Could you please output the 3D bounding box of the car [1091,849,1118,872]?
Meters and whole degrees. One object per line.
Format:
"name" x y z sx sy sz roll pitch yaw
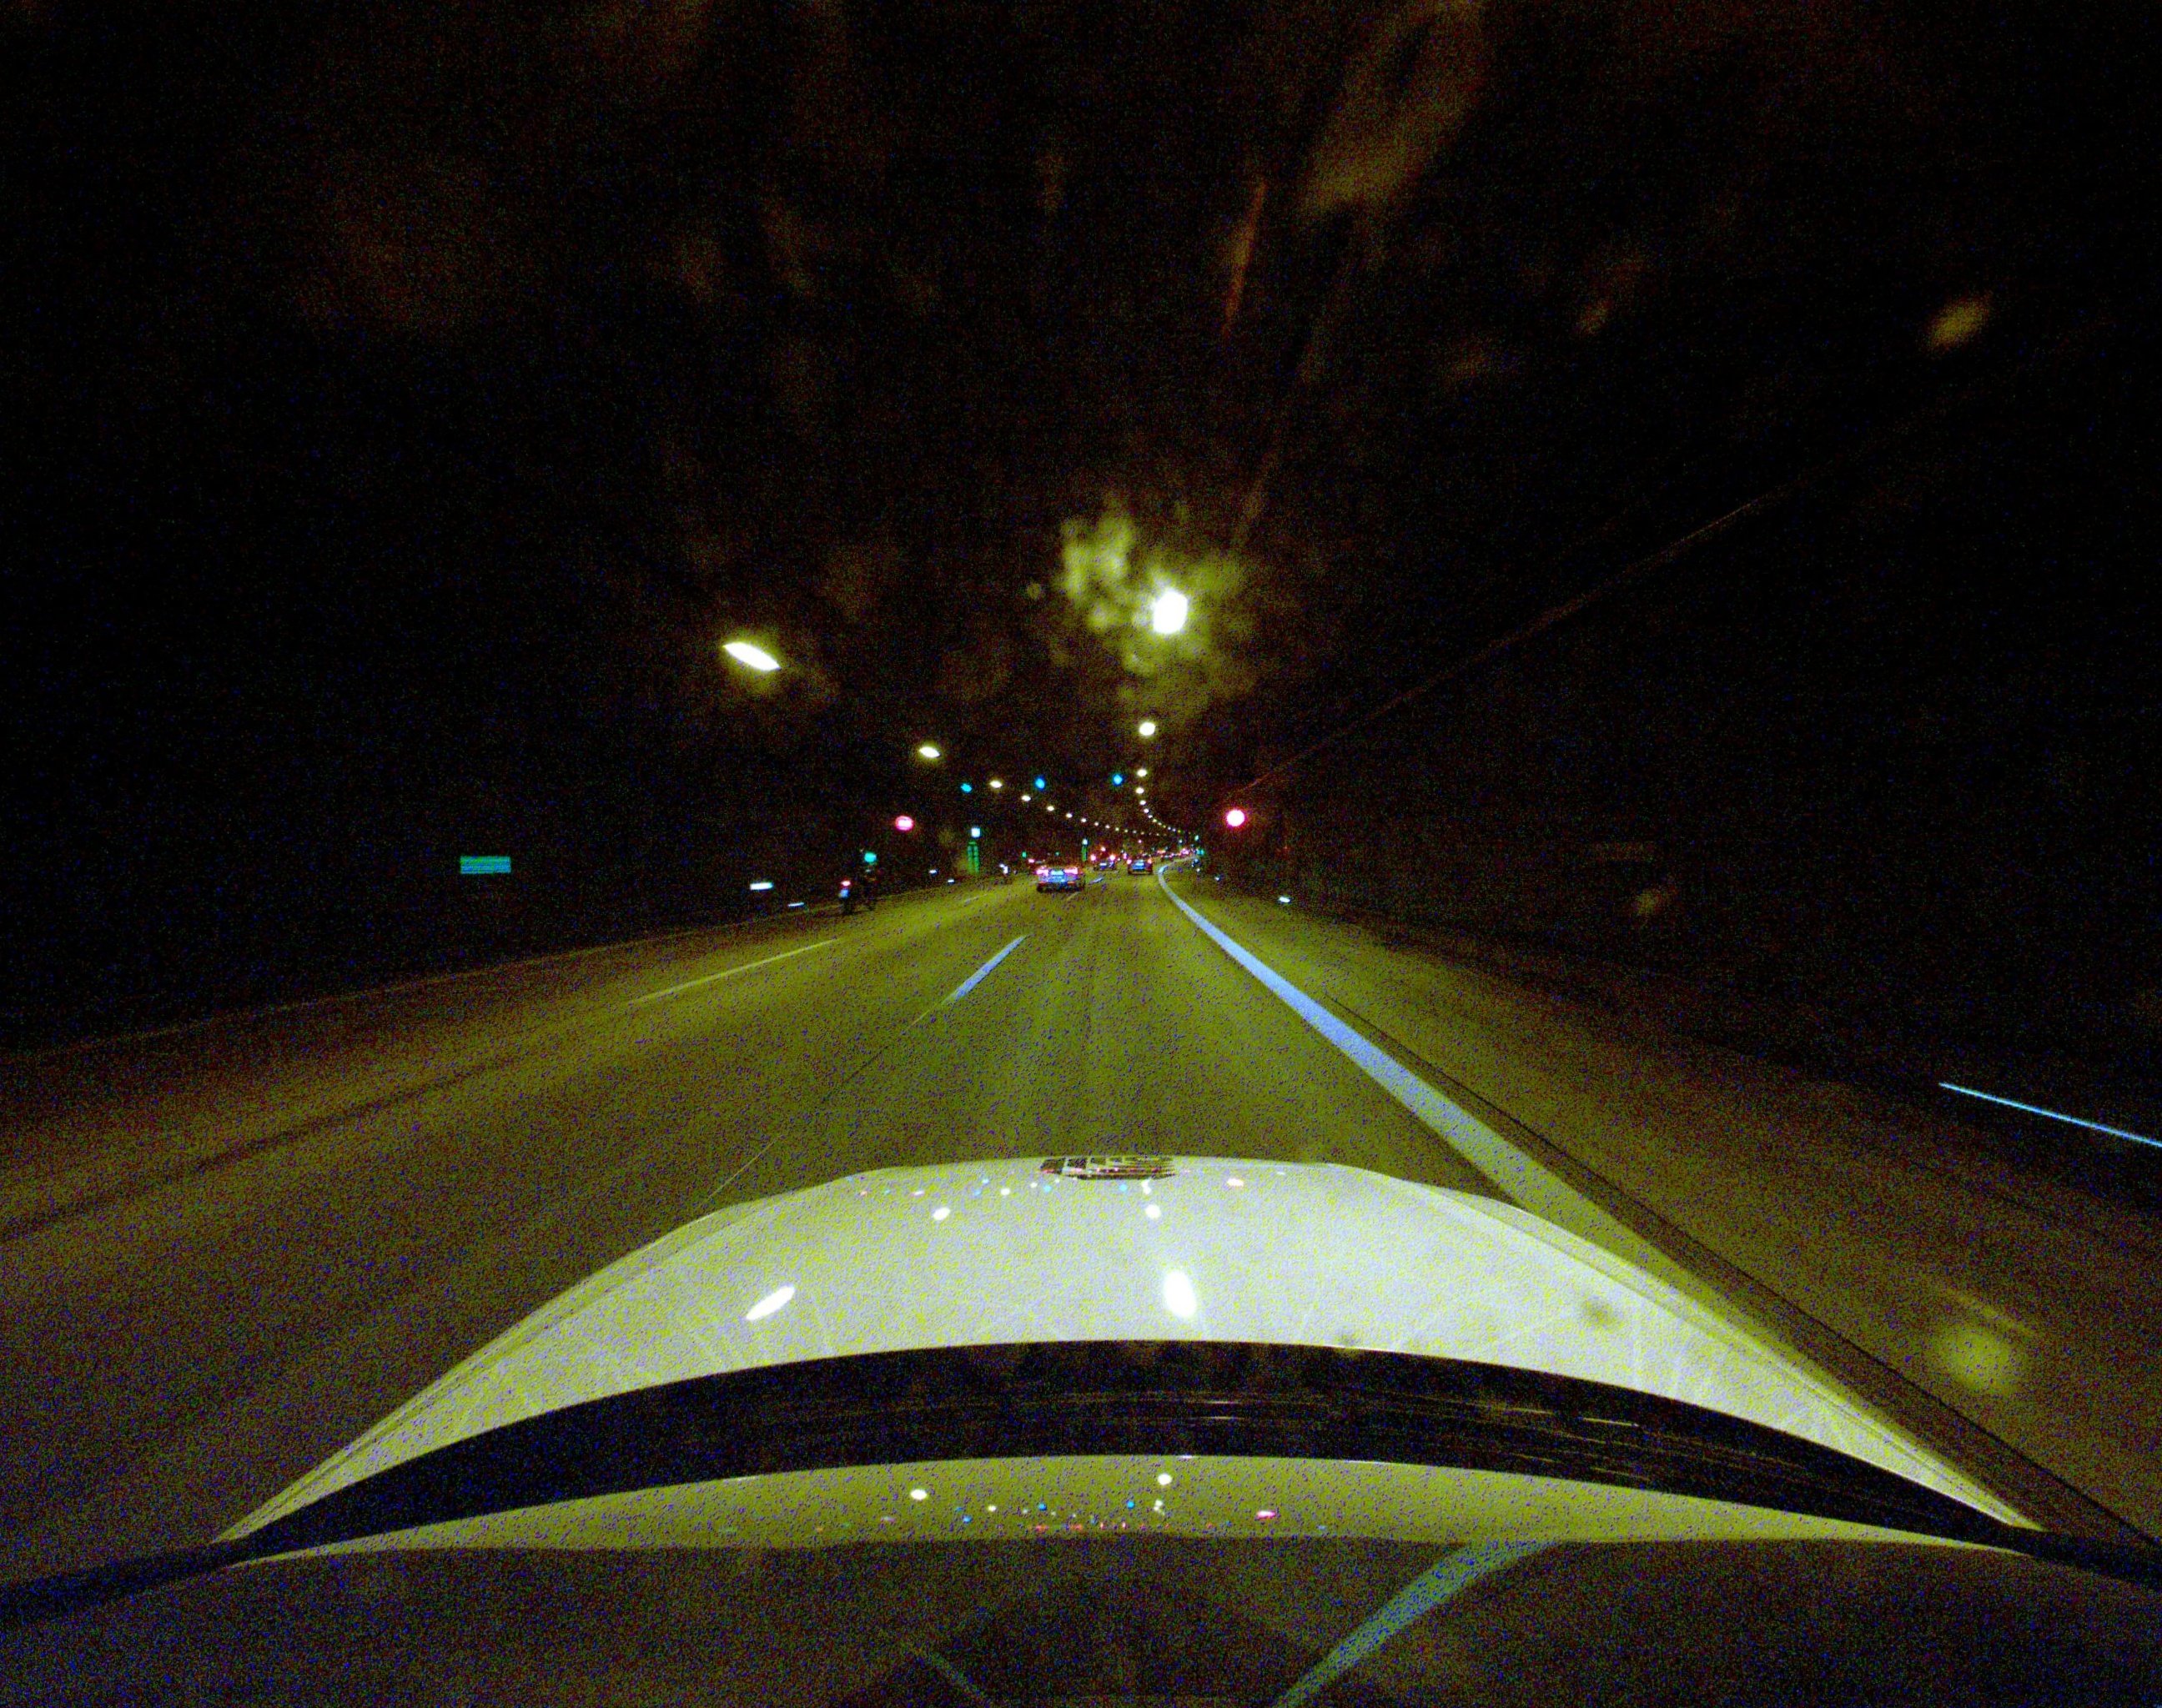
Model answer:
"car" 2.130 0.530 71.840 1.983 1.972 4.008 0 0 7

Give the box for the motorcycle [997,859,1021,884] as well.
"motorcycle" -3.729 0.900 42.210 0.842 1.246 2.607 -1 0 3

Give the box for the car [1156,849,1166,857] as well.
"car" 17.977 -0.243 182.067 1.819 1.618 4.011 -3 0 10

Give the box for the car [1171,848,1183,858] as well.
"car" 17.423 -0.170 147.557 1.848 1.666 4.010 -3 0 9

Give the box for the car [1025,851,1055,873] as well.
"car" -3.147 0.600 63.340 1.777 1.598 3.807 -1 0 5

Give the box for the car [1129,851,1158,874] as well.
"car" 4.456 0.590 57.869 1.830 1.602 4.008 -1 0 7

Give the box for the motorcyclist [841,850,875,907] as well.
"motorcyclist" -6.069 0.659 22.206 0.624 1.489 0.891 2 0 1

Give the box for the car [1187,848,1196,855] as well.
"car" 28.463 -0.687 209.447 1.822 1.691 4.012 -3 0 11

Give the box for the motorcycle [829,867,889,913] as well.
"motorcycle" -6.069 0.960 22.434 1.050 1.157 2.426 0 0 -1

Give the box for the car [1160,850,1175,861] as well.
"car" 12.718 0.198 119.727 1.833 1.568 4.010 -3 0 9

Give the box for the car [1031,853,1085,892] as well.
"car" -0.891 0.723 34.143 1.986 1.483 4.002 -2 0 2

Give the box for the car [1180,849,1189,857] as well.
"car" 22.943 -0.254 180.996 1.954 1.750 4.008 -3 0 7

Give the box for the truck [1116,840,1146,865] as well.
"truck" 7.126 -0.326 113.639 3.065 3.112 10.055 -4 1 9

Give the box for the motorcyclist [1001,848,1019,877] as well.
"motorcyclist" -3.710 0.449 42.604 0.835 1.477 0.822 -1 2 2
